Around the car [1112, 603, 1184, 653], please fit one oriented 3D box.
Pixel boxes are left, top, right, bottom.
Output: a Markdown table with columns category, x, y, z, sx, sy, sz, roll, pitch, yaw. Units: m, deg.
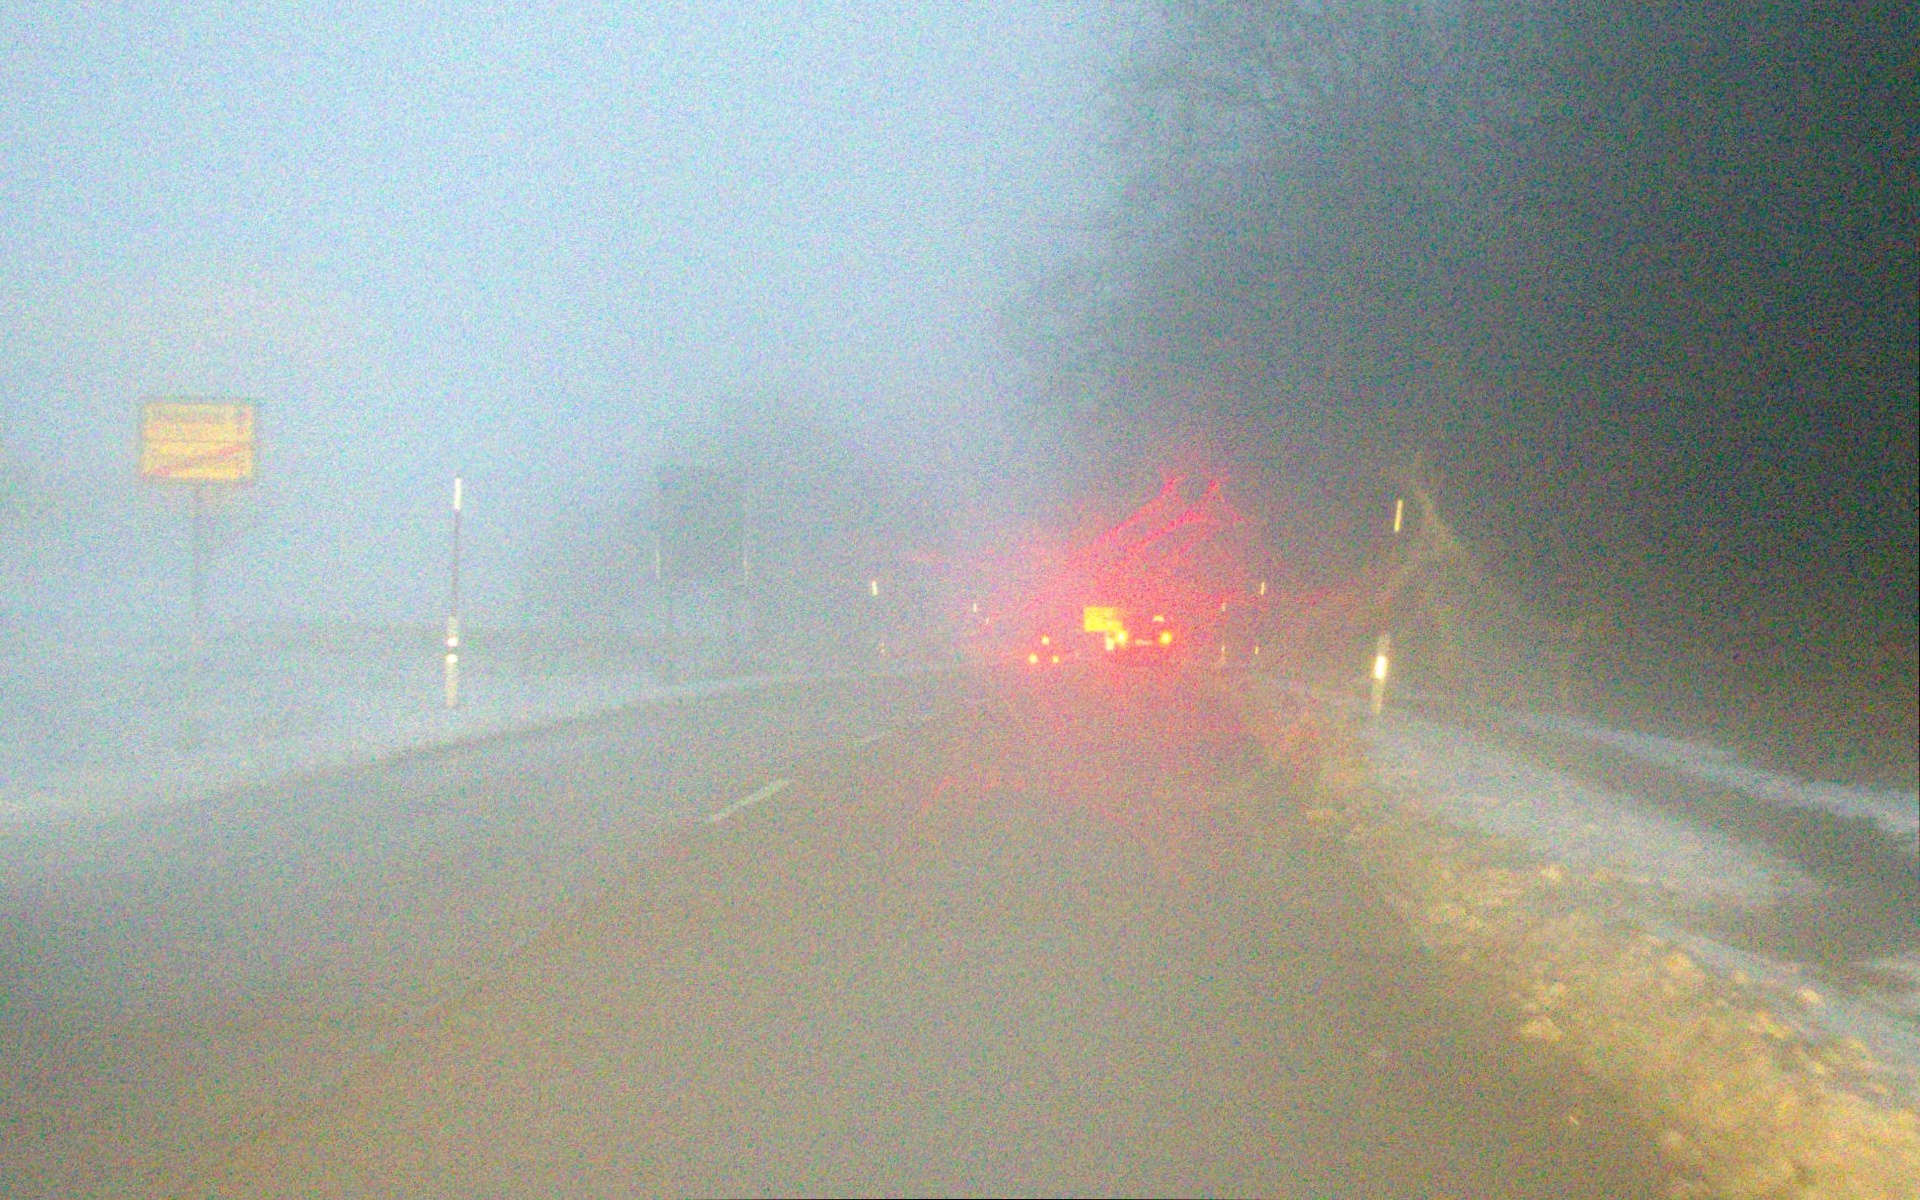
| category | x | y | z | sx | sy | sz | roll | pitch | yaw |
| --- | --- | --- | --- | --- | --- | --- | --- | --- | --- |
| car | 5.480 | 0.830 | 100.775 | 1.993 | 1.415 | 3.999 | 0 | -1 | 2 |
